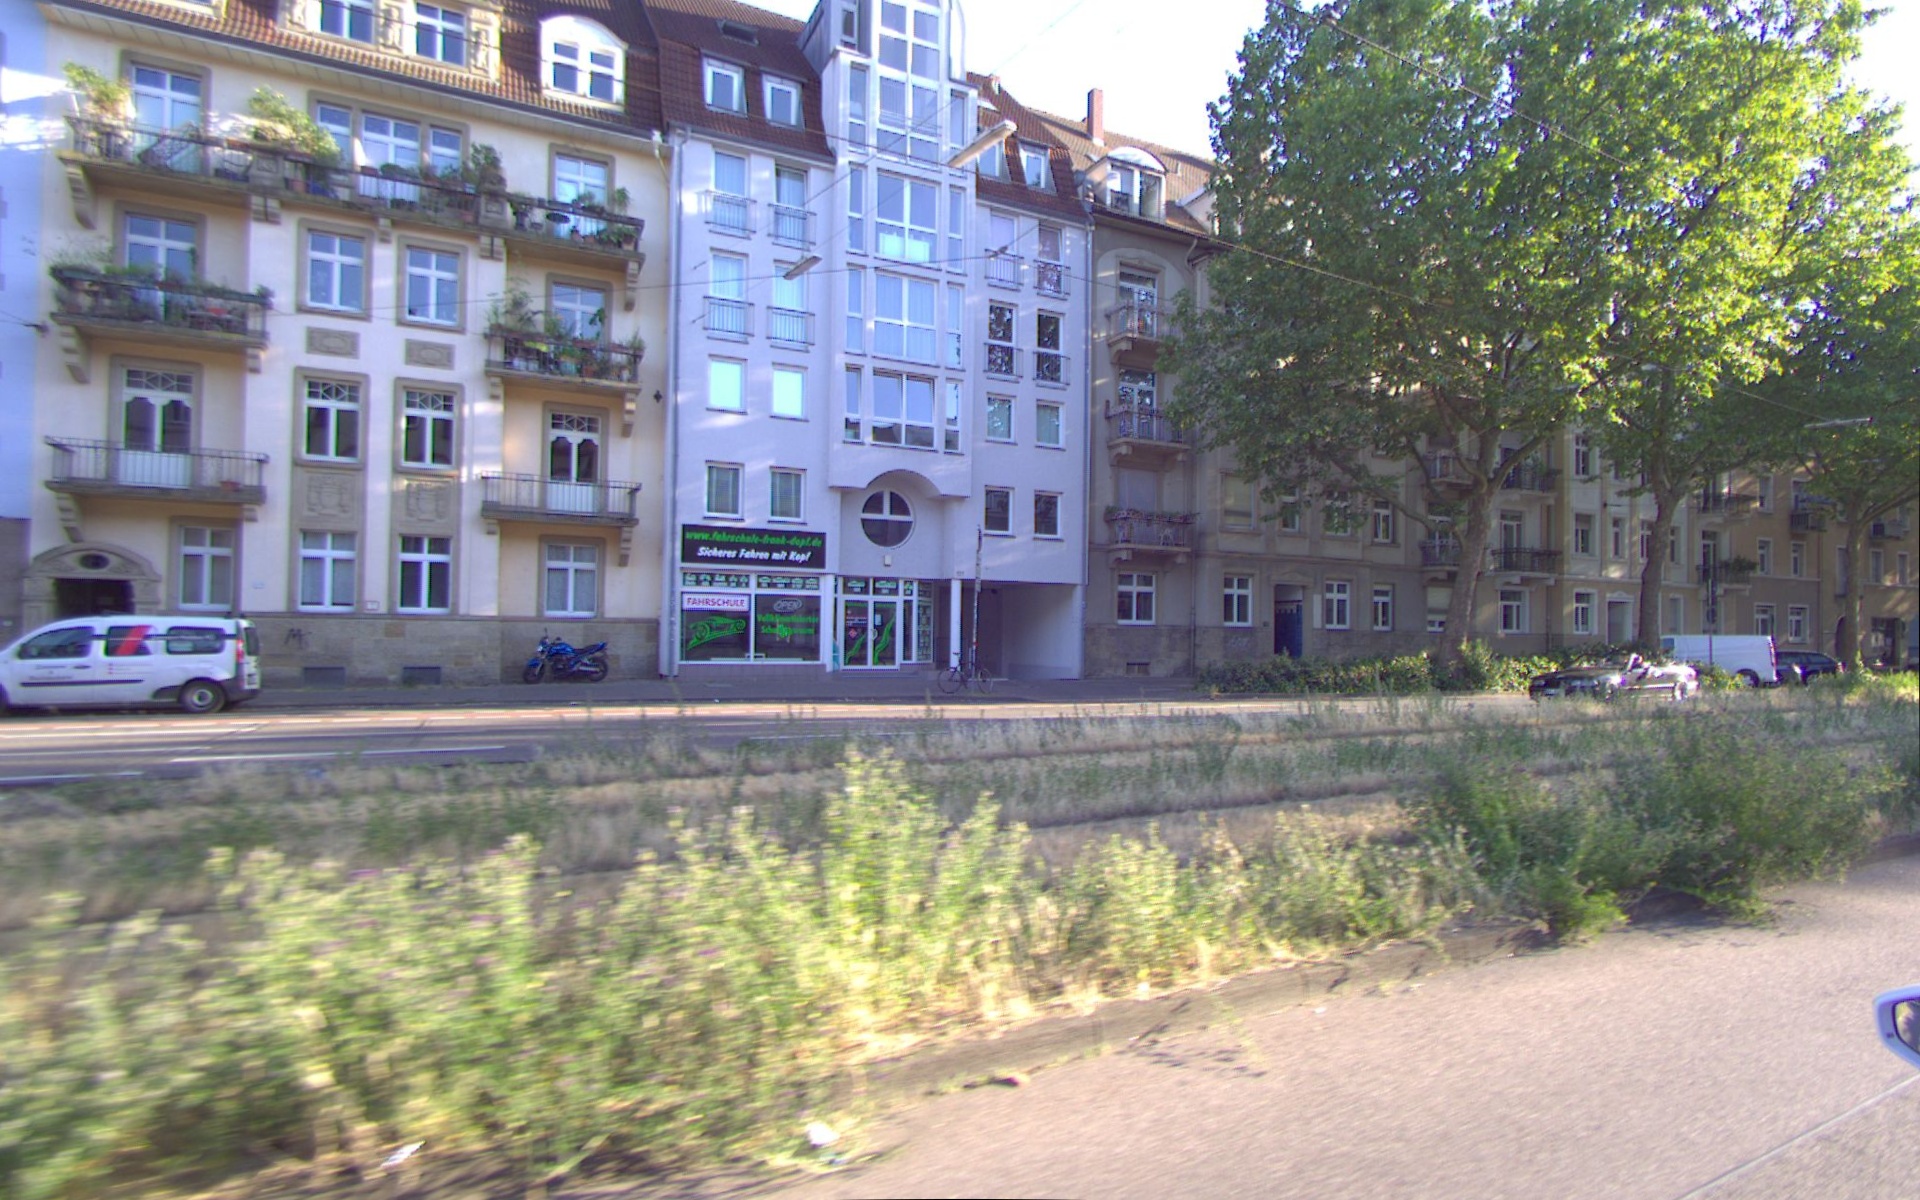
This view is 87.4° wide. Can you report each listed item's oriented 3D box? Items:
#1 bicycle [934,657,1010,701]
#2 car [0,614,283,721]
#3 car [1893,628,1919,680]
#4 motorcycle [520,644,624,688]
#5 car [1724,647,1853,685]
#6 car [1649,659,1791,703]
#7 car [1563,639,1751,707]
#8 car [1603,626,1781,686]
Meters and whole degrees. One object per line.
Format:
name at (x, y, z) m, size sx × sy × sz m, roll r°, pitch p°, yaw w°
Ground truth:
bicycle at (0.306, 2.091, 26.593) m, size 1.862 × 1.047 × 0.757 m, roll 2°, pitch 4°, yaw -13°
car at (-15.350, 1.214, 18.376) m, size 4.590 × 1.810 × 1.899 m, roll 2°, pitch -2°, yaw -25°
car at (49.617, 2.669, 49.110) m, size 5.401 × 2.562 × 2.126 m, roll 0°, pitch -2°, yaw 22°
motorcycle at (-9.776, 1.650, 25.355) m, size 2.389 × 1.035 × 0.526 m, roll 2°, pitch 1°, yaw -28°
car at (33.398, 2.642, 40.624) m, size 3.656 × 1.440 × 1.721 m, roll 0°, pitch -2°, yaw 22°
car at (29.757, 3.150, 39.468) m, size 4.095 × 1.510 × 1.721 m, roll 0°, pitch -2°, yaw 22°
car at (16.815, 1.742, 24.194) m, size 4.639 × 1.505 × 1.710 m, roll 2°, pitch -4°, yaw -27°
car at (27.437, 2.066, 37.861) m, size 5.145 × 2.093 × 1.721 m, roll 0°, pitch -2°, yaw 22°
